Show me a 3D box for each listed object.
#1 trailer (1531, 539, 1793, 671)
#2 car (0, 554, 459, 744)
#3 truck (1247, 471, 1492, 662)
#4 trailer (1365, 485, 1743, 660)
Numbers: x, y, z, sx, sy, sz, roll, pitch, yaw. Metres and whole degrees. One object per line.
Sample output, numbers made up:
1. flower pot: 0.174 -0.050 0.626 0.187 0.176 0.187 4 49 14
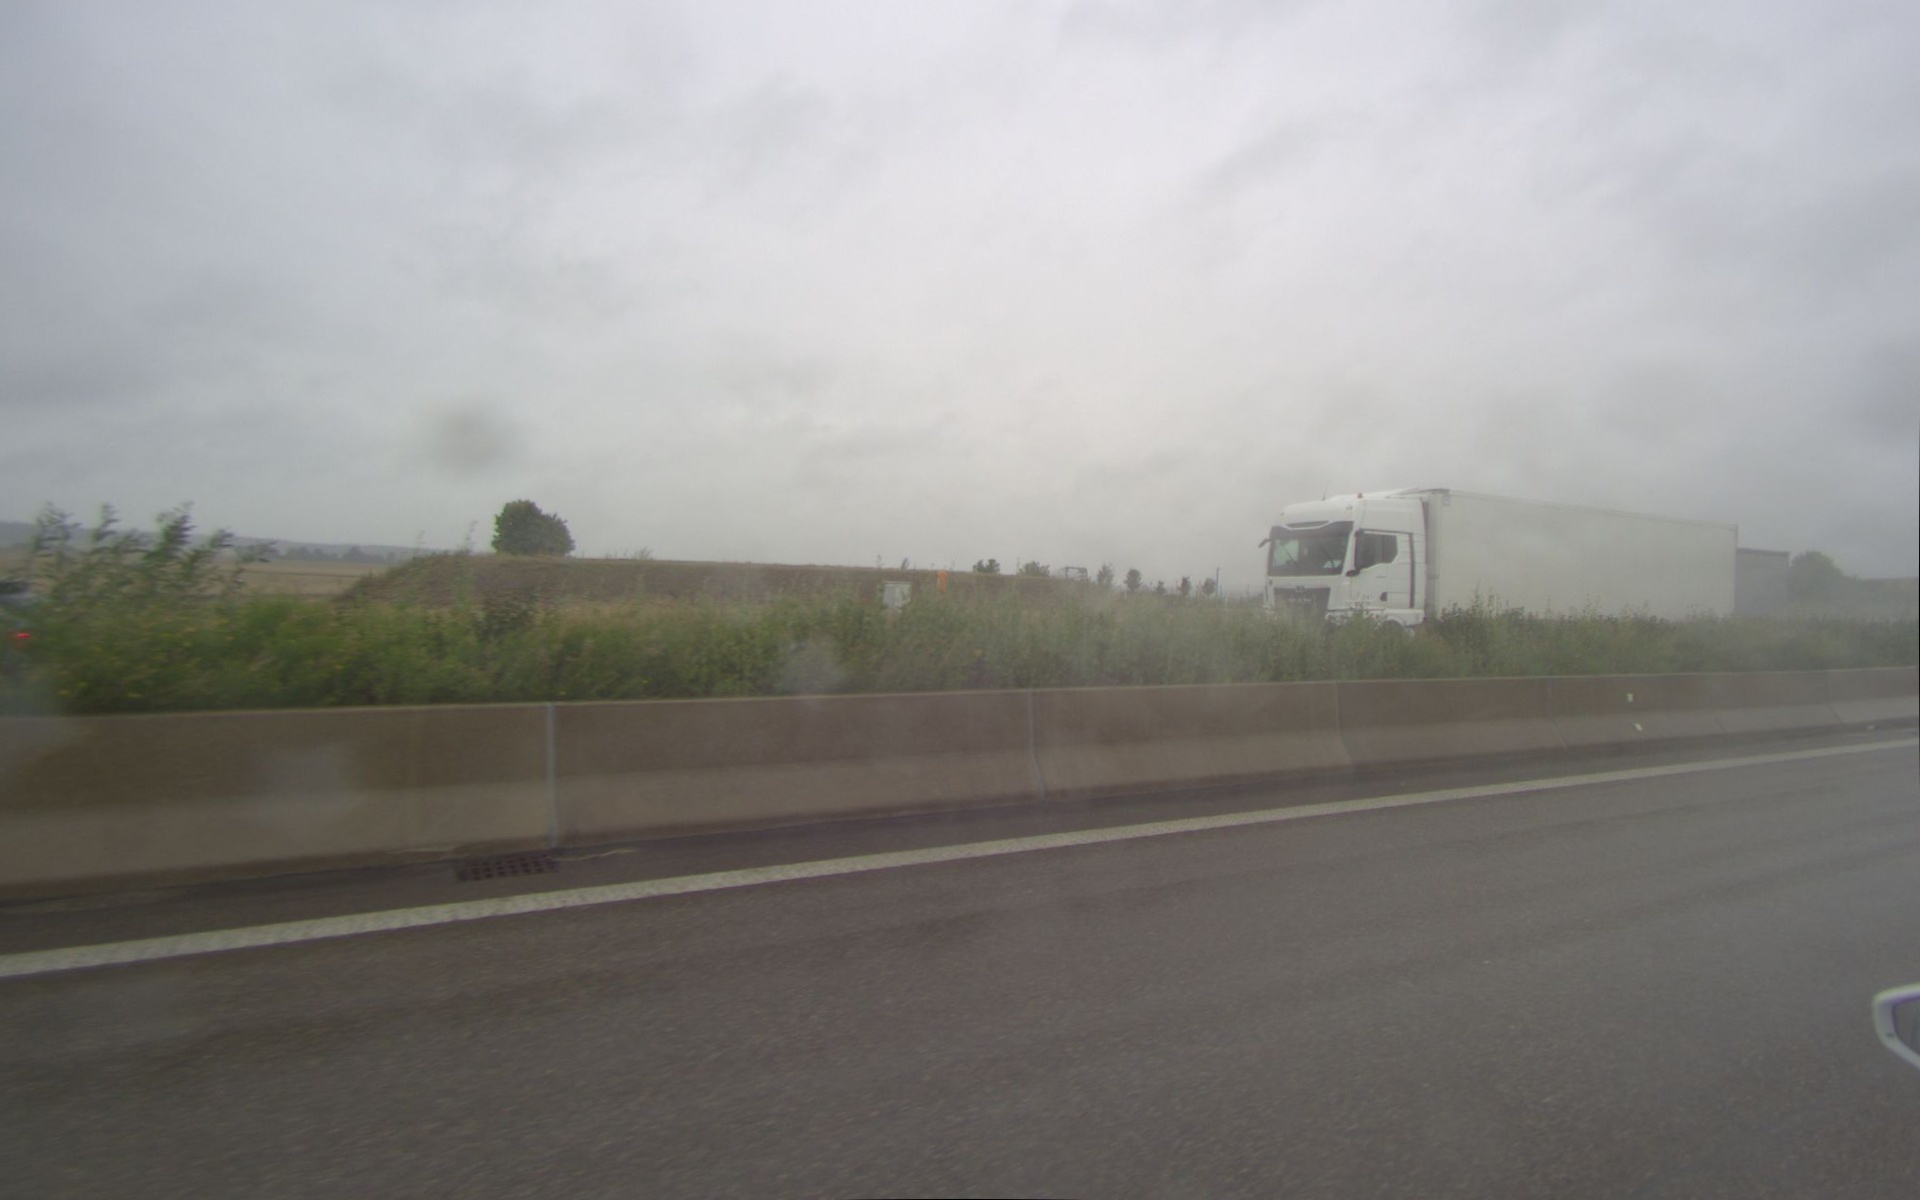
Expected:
1. trailer: 26.302 0.275 37.234 13.085 4.308 2.804 1 0 -31
2. car: -6.939 0.398 9.363 3.953 1.506 1.767 1 1 -30
3. truck: 9.318 -0.664 22.866 4.761 3.899 2.746 1 1 -29
4. trailer: 16.112 -0.516 26.703 12.255 3.904 2.805 1 1 -29
